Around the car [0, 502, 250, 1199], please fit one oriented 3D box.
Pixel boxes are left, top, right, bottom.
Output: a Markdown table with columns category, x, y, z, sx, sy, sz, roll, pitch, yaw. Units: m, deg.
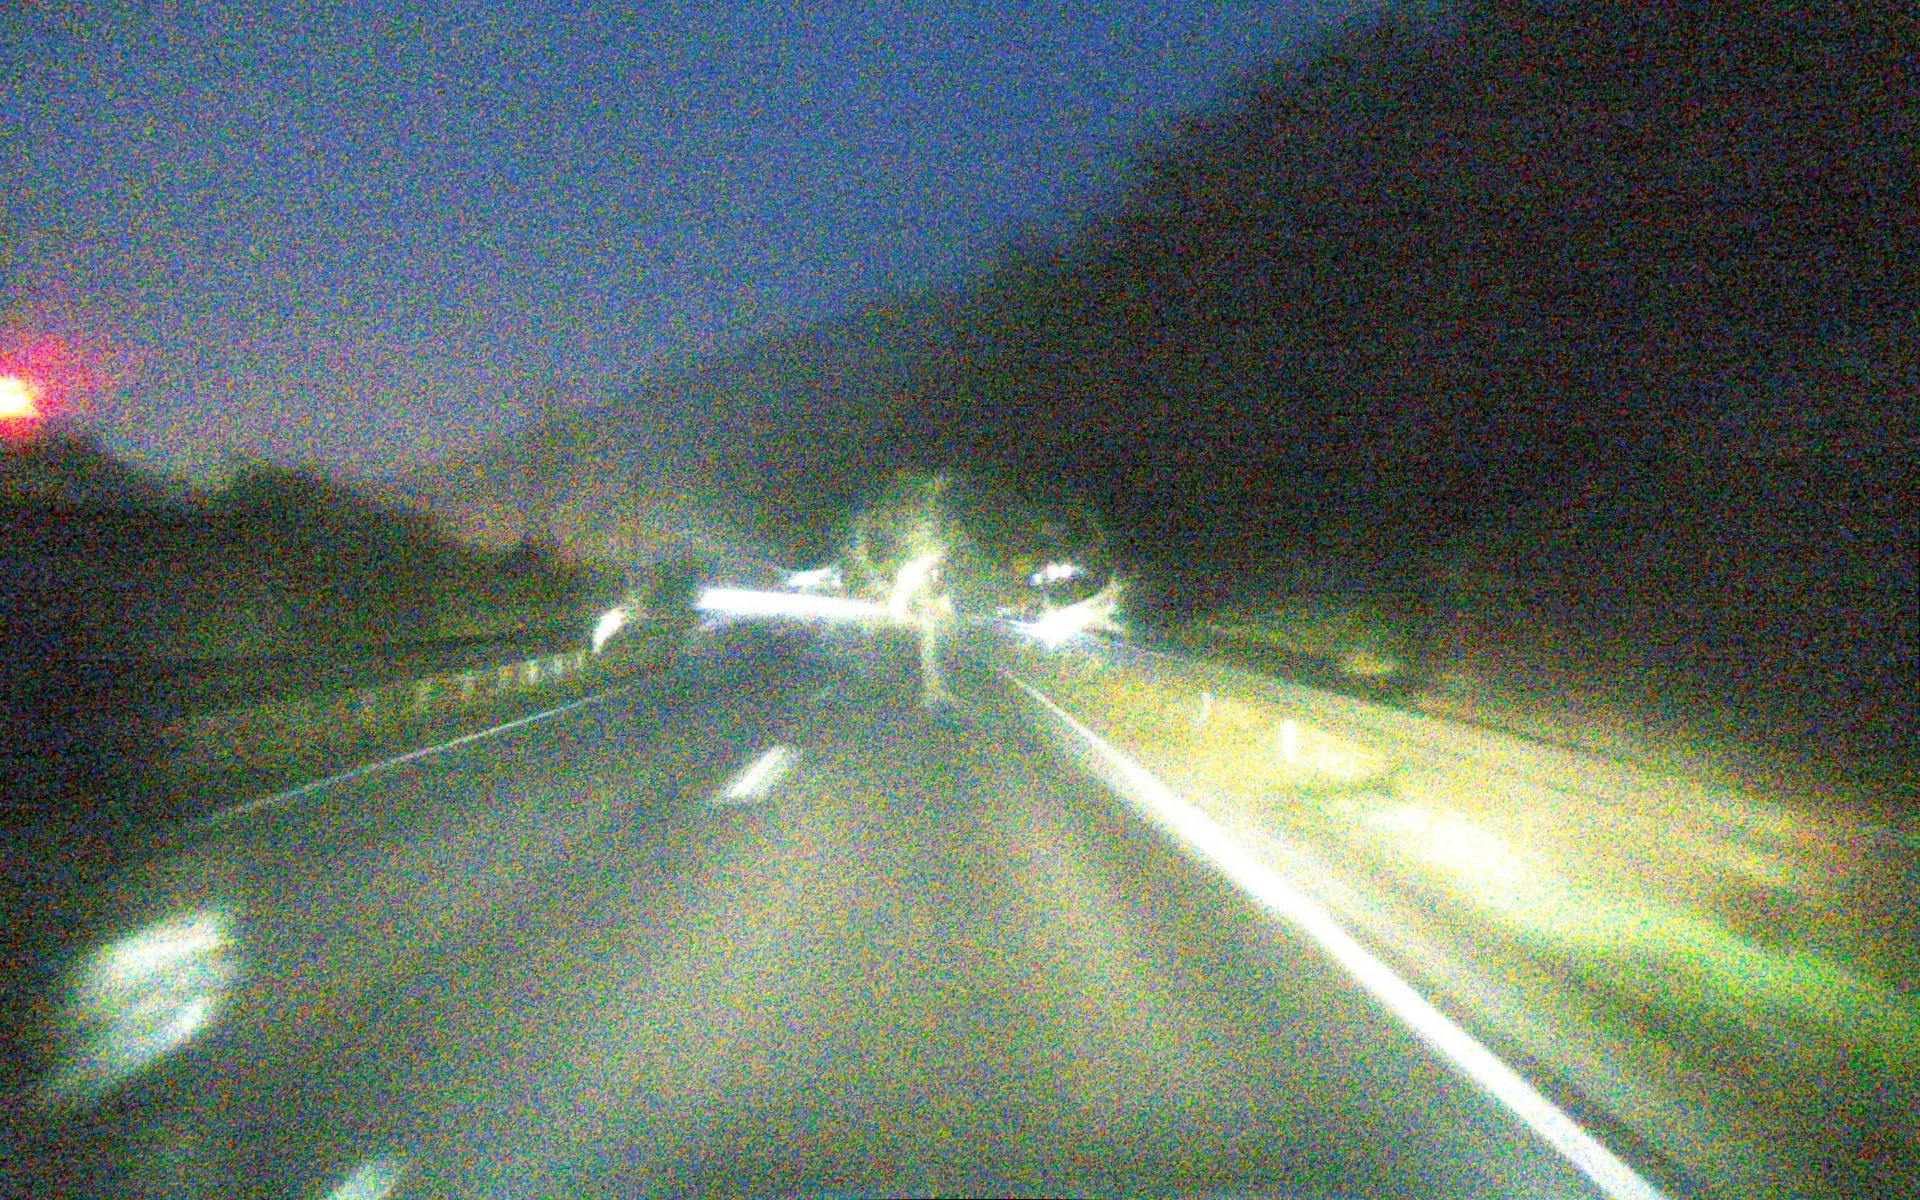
| category | x | y | z | sx | sy | sz | roll | pitch | yaw |
| --- | --- | --- | --- | --- | --- | --- | --- | --- | --- |
| car | -3.114 | 0.613 | 3.180 | 1.882 | 1.674 | 4.023 | 0 | 0 | -2 |
